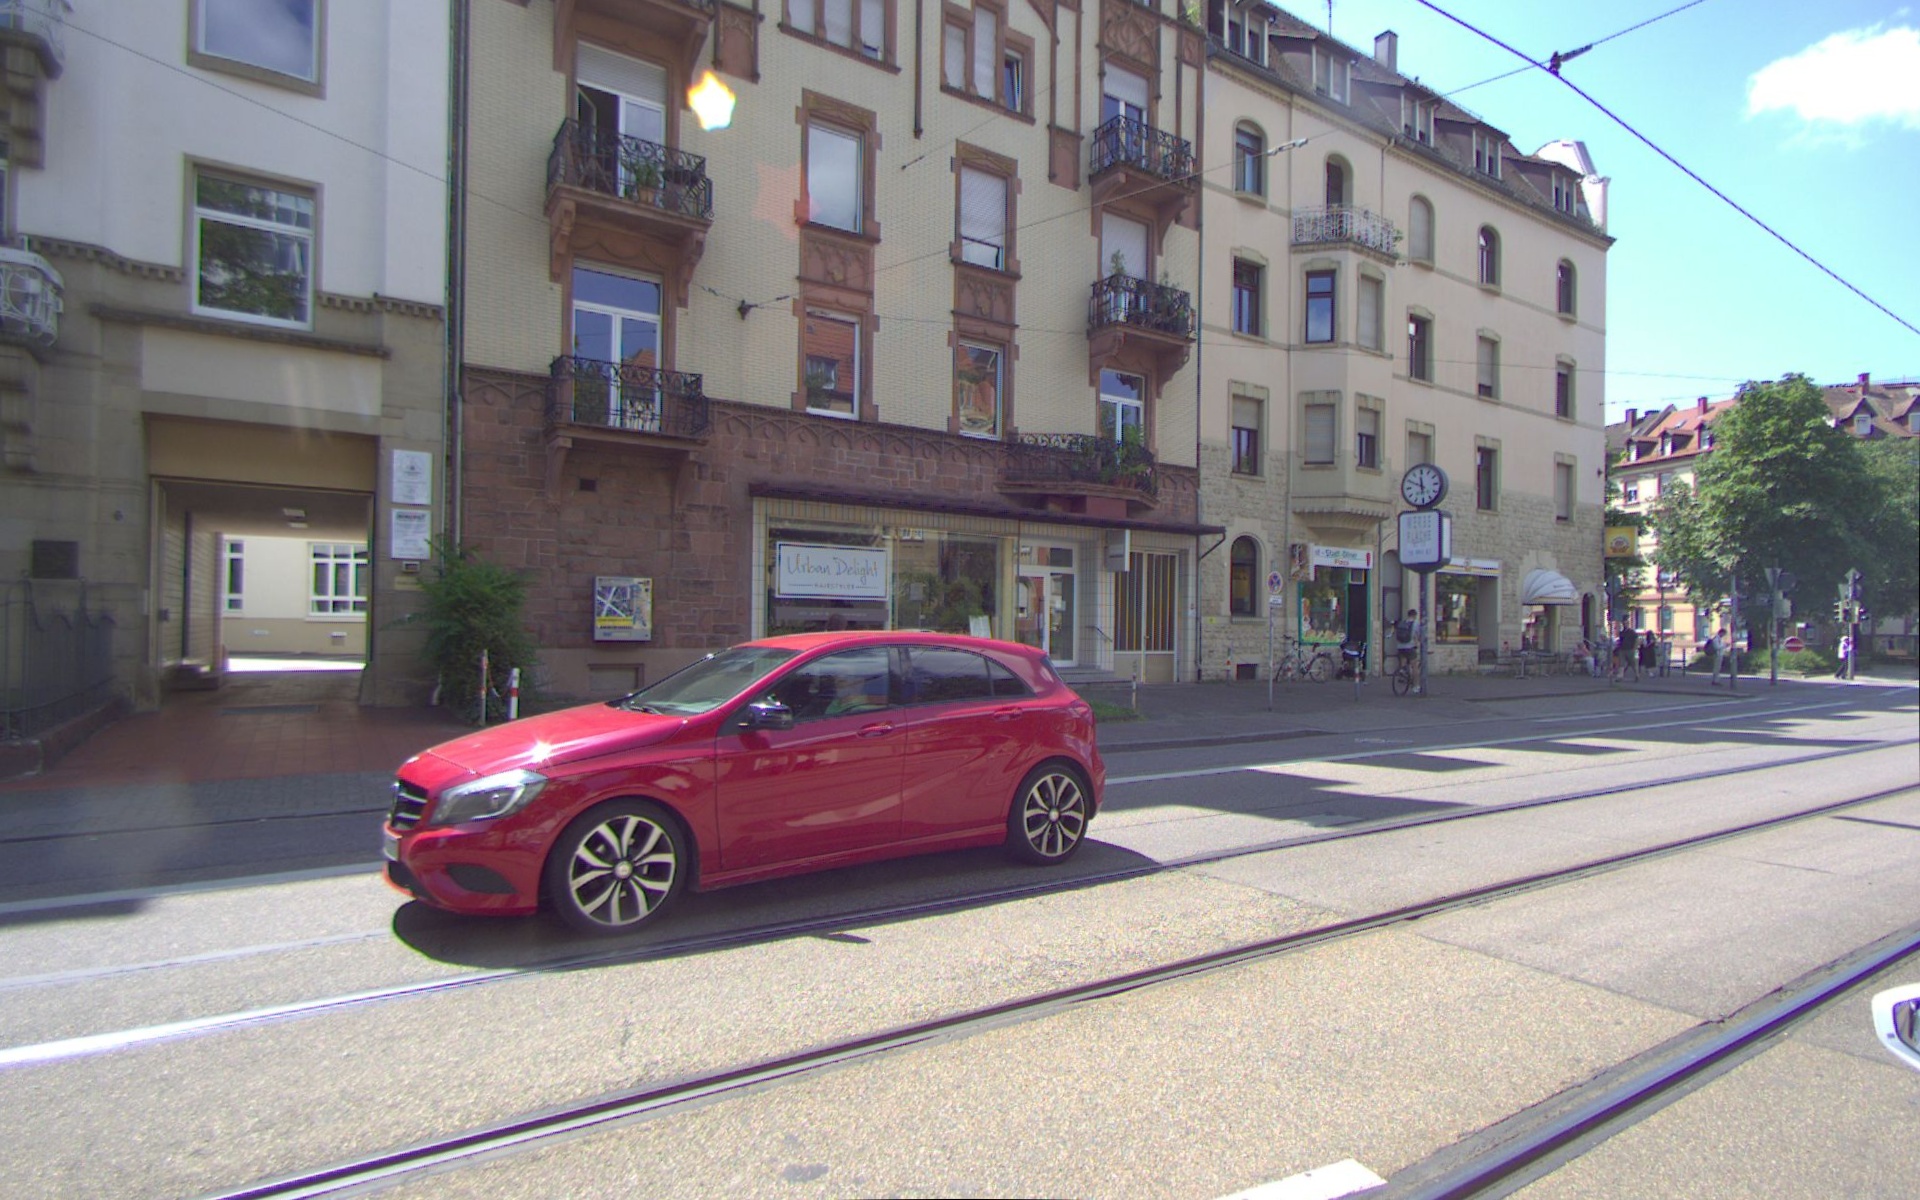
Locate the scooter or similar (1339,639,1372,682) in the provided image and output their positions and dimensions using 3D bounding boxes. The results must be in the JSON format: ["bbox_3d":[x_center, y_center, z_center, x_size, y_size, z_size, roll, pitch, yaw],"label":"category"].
[{"bbox_3d":[10.524,1.597,26.768,0.682,1.058,1.210,2,0,16],"label":"scooter or similar"}]

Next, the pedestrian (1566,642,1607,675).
[{"bbox_3d":[21.056,1.954,33.764,0.873,1.092,0.911,2,-1,-32],"label":"pedestrian"}]

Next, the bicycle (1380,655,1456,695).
[{"bbox_3d":[10.269,1.657,22.499,1.802,0.828,0.747,2,-2,-35],"label":"bicycle"}]

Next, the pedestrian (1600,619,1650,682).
[{"bbox_3d":[20.688,1.560,31.262,1.152,1.916,0.895,2,0,-34],"label":"pedestrian"}]

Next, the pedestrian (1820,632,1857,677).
[{"bbox_3d":[35.162,2.157,40.208,0.824,1.746,0.919,0,-1,20],"label":"pedestrian"}]

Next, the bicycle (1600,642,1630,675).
[{"bbox_3d":[23.571,2.107,36.169,0.534,1.143,1.683,1,-3,20],"label":"bicycle"}]

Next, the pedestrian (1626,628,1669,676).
[{"bbox_3d":[24.587,1.850,35.952,0.846,1.657,1.026,1,-1,0],"label":"pedestrian"}]

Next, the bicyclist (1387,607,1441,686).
[{"bbox_3d":[10.130,1.027,22.405,0.823,1.685,0.750,2,0,-37],"label":"bicyclist"}]

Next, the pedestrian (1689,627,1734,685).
[{"bbox_3d":[23.431,1.735,31.328,0.767,1.756,0.855,1,0,-31],"label":"pedestrian"}]

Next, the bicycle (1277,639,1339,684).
[{"bbox_3d":[8.803,1.548,25.395,1.439,1.080,0.370,3,-1,-10],"label":"bicycle"}]

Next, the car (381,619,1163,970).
[{"bbox_3d":[-0.932,0.889,6.173,4.386,1.432,1.810,2,-3,-36],"label":"car"}]

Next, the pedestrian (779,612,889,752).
[{"bbox_3d":[-1.495,0.934,11.885,0.975,1.563,0.895,1,-1,-36],"label":"pedestrian"}]

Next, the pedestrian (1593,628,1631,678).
[{"bbox_3d":[21.832,1.762,33.634,0.910,1.616,0.801,2,-1,-35],"label":"pedestrian"}]
